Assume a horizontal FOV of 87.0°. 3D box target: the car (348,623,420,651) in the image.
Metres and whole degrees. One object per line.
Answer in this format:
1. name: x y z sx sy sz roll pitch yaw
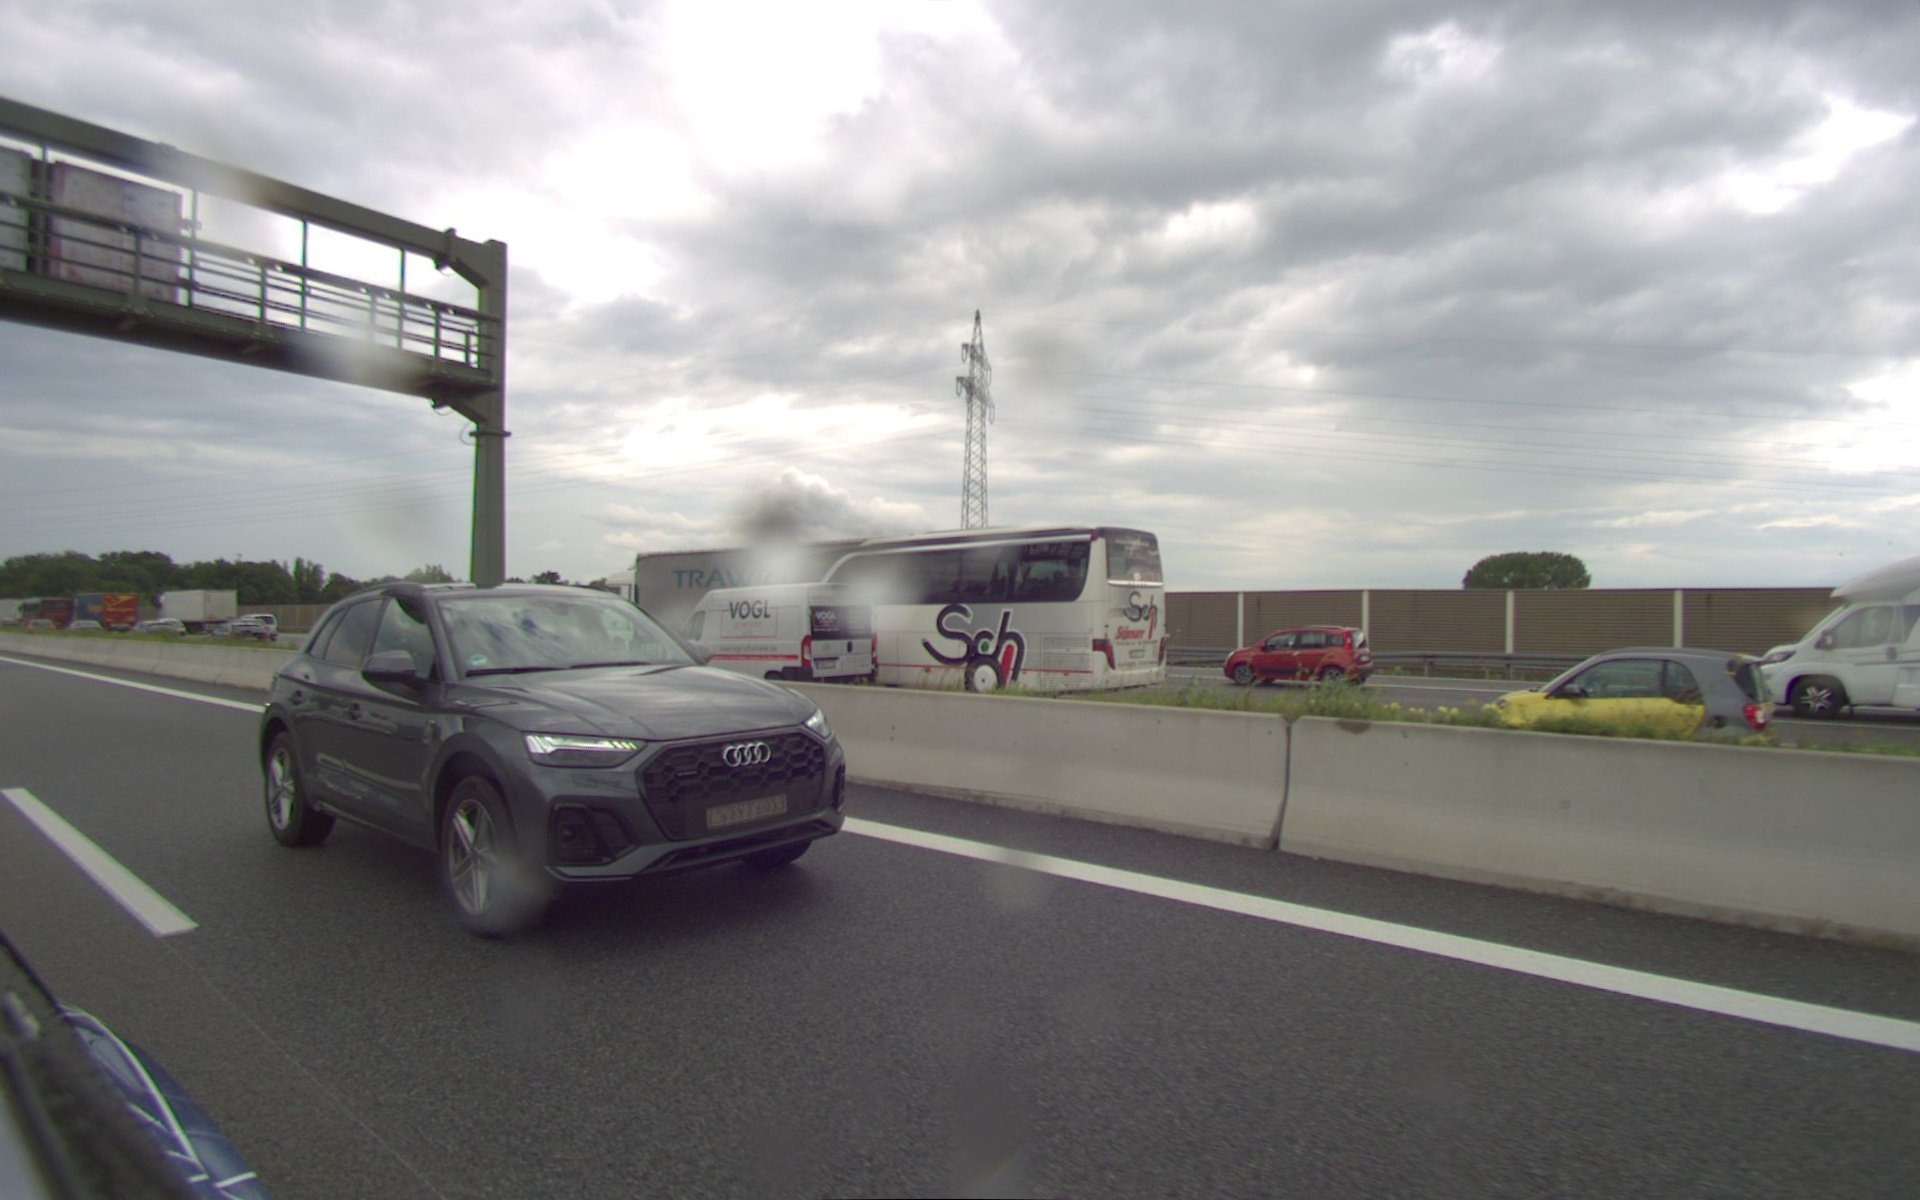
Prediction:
1. car: -30.823 1.969 54.071 4.857 1.392 1.769 -1 -1 40

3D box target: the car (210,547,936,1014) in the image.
1. car: -2.690 0.705 6.121 5.165 1.704 1.889 -1 -1 41

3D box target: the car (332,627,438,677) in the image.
1. car: -19.527 1.708 34.309 4.373 1.551 1.719 -1 -1 40

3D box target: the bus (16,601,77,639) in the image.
1. bus: -93.501 2.070 103.466 12.748 3.638 2.861 -1 -1 40

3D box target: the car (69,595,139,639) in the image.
1. car: -85.884 1.704 101.441 14.383 4.155 2.952 -1 -1 40

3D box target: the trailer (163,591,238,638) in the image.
1. trailer: -71.537 1.413 95.173 12.688 4.147 2.871 -1 -1 40

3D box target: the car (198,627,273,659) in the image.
1. car: -34.190 2.002 47.722 4.585 1.392 1.769 -1 -1 40

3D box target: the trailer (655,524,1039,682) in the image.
1. trailer: -4.186 0.183 31.340 14.290 3.991 2.856 -1 -1 41

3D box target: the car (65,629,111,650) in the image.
1. car: -62.592 2.820 72.616 4.857 1.437 1.699 -1 -1 40

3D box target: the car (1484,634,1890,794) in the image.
1. car: 7.656 1.091 10.876 3.325 1.399 1.598 -1 -1 40

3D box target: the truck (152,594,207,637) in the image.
1. truck: -76.943 1.536 99.736 6.617 4.147 2.871 -1 -1 40

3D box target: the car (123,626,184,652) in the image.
1. car: -46.213 2.213 57.957 4.857 1.392 1.769 -1 -1 40

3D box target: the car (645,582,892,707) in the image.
1. car: -4.243 0.879 21.761 5.707 2.369 2.114 -1 -1 41

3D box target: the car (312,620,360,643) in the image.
1. car: -44.878 2.246 72.762 3.952 1.609 1.769 -1 -1 40

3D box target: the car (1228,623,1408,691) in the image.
1. car: 8.886 1.351 25.301 3.887 1.554 1.768 -1 -2 42

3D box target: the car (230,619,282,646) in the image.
1. car: -48.145 2.188 69.207 4.574 1.753 1.772 -1 -1 40

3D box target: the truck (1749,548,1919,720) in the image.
1. truck: 18.025 0.568 16.610 7.832 2.835 2.662 -1 -2 42

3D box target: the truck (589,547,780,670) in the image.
1. truck: -10.032 0.315 36.385 7.531 3.991 2.856 -1 -1 41

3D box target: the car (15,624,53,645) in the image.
1. car: -73.899 2.739 80.739 4.209 1.535 1.699 -1 -1 40

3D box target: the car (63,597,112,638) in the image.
1. car: -91.489 1.813 106.151 6.037 4.181 2.953 -1 -1 40

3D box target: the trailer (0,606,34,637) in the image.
1. trailer: -132.203 2.978 140.618 13.391 4.139 3.622 -1 -1 41

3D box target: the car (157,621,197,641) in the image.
1. car: -66.142 2.573 85.457 4.578 1.603 1.769 -1 -1 40

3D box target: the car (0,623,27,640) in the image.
1. car: -90.642 2.998 96.628 4.561 1.545 1.769 -1 -1 40

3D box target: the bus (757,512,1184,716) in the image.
1. bus: -0.290 0.338 22.992 10.631 3.707 2.626 -1 -2 42
